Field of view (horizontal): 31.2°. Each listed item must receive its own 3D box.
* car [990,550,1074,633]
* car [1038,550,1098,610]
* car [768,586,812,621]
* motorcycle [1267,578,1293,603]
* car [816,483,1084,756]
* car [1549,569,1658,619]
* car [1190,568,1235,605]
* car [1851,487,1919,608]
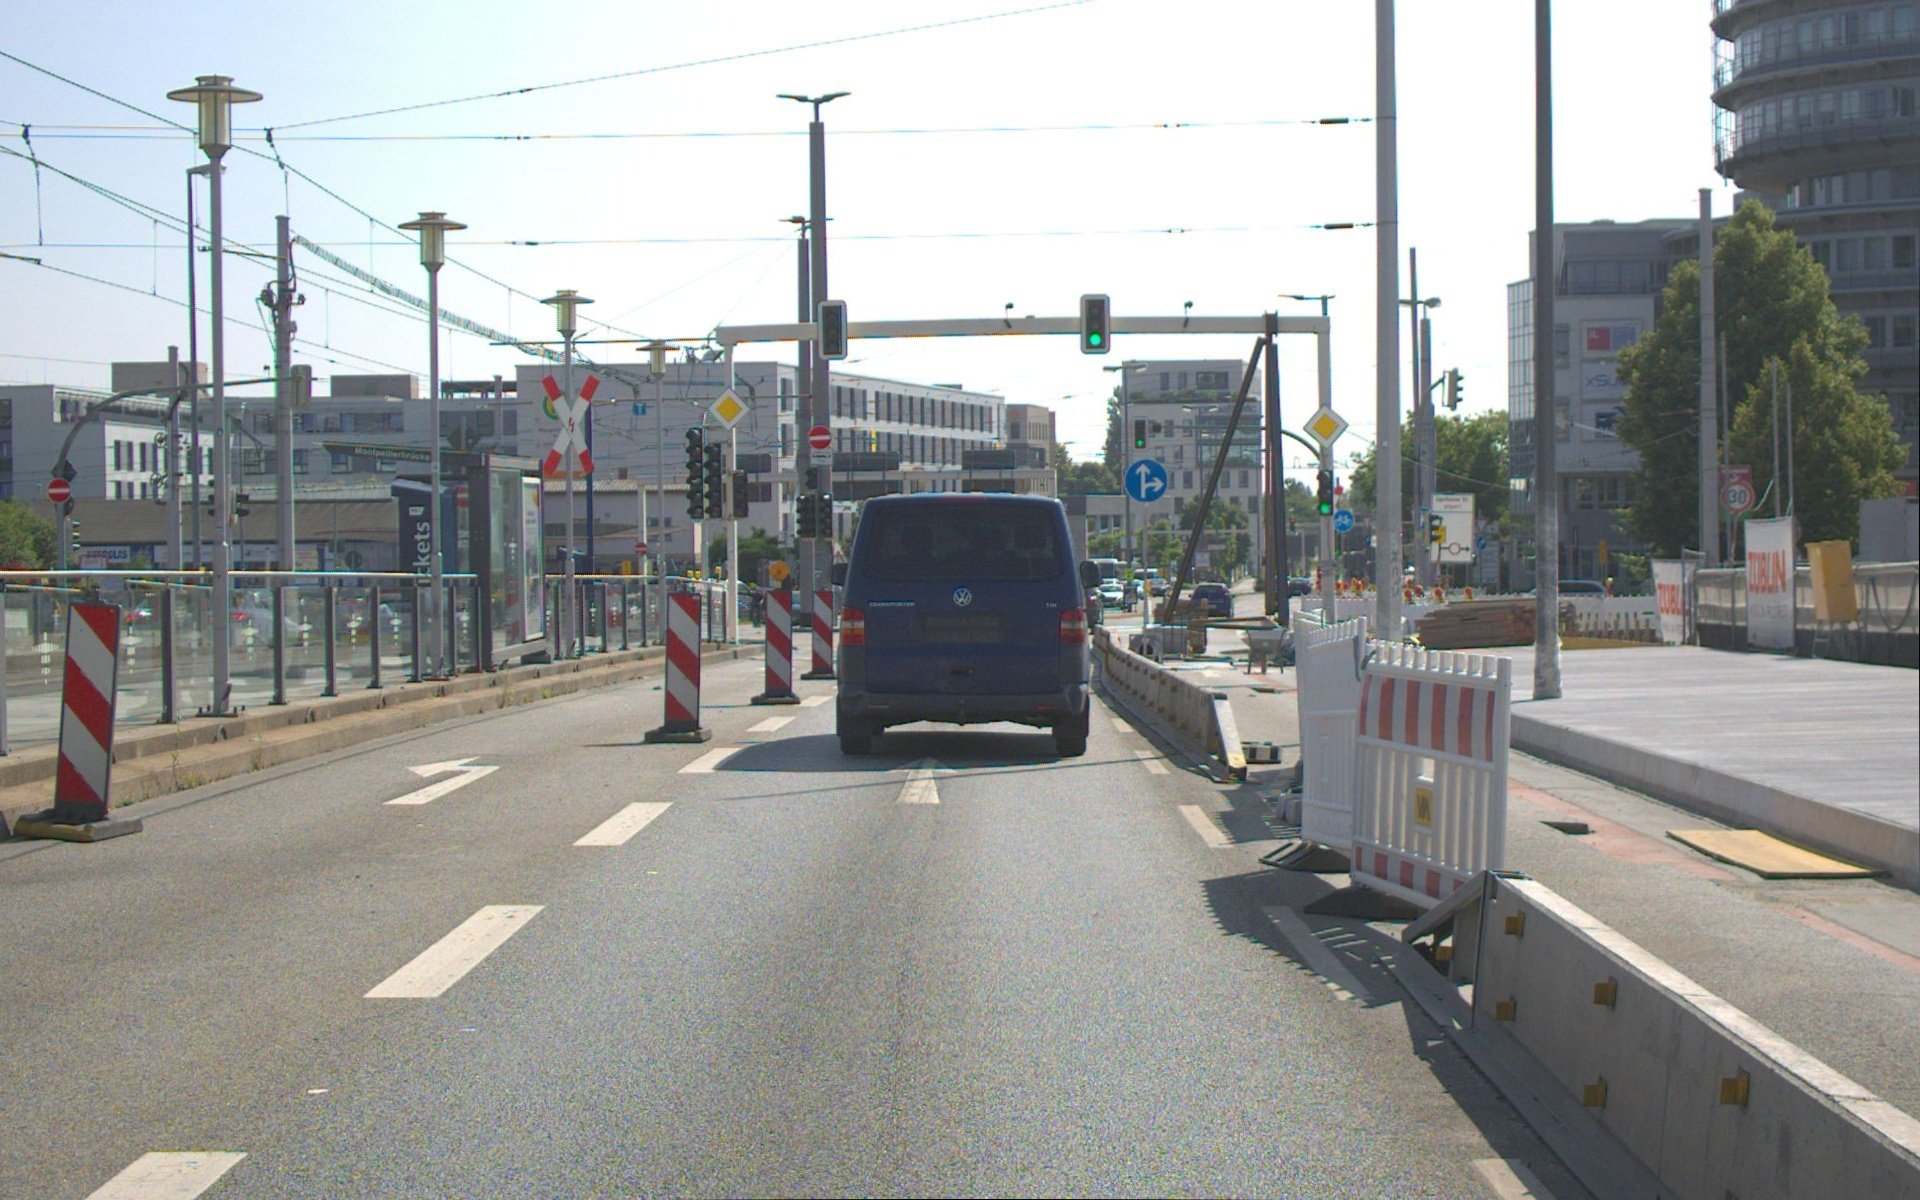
[{"bbox_3d":[1.598,-0.214,75.479,1.645,1.722,4.000,1,1,3],"label":"car"},{"bbox_3d":[3.264,-0.626,103.553,1.645,1.722,3.717,1,1,3],"label":"car"},{"bbox_3d":[-7.516,0.140,152.331,1.747,1.481,4.000,-1,1,0],"label":"car"},{"bbox_3d":[16.833,-0.520,180.808,1.162,1.238,3.006,1,1,9],"label":"motorcycle"},{"bbox_3d":[-0.065,0.092,26.734,1.888,1.927,4.000,1,1,0],"label":"car"},{"bbox_3d":[24.420,-0.246,130.449,3.813,1.791,1.681,1,2,2],"label":"car"},{"bbox_3d":[10.279,-0.554,139.963,1.744,1.470,3.884,0,0,3],"label":"car"},{"bbox_3d":[25.183,-1.278,84.506,5.949,2.877,2.347,0,2,-17],"label":"car"}]
